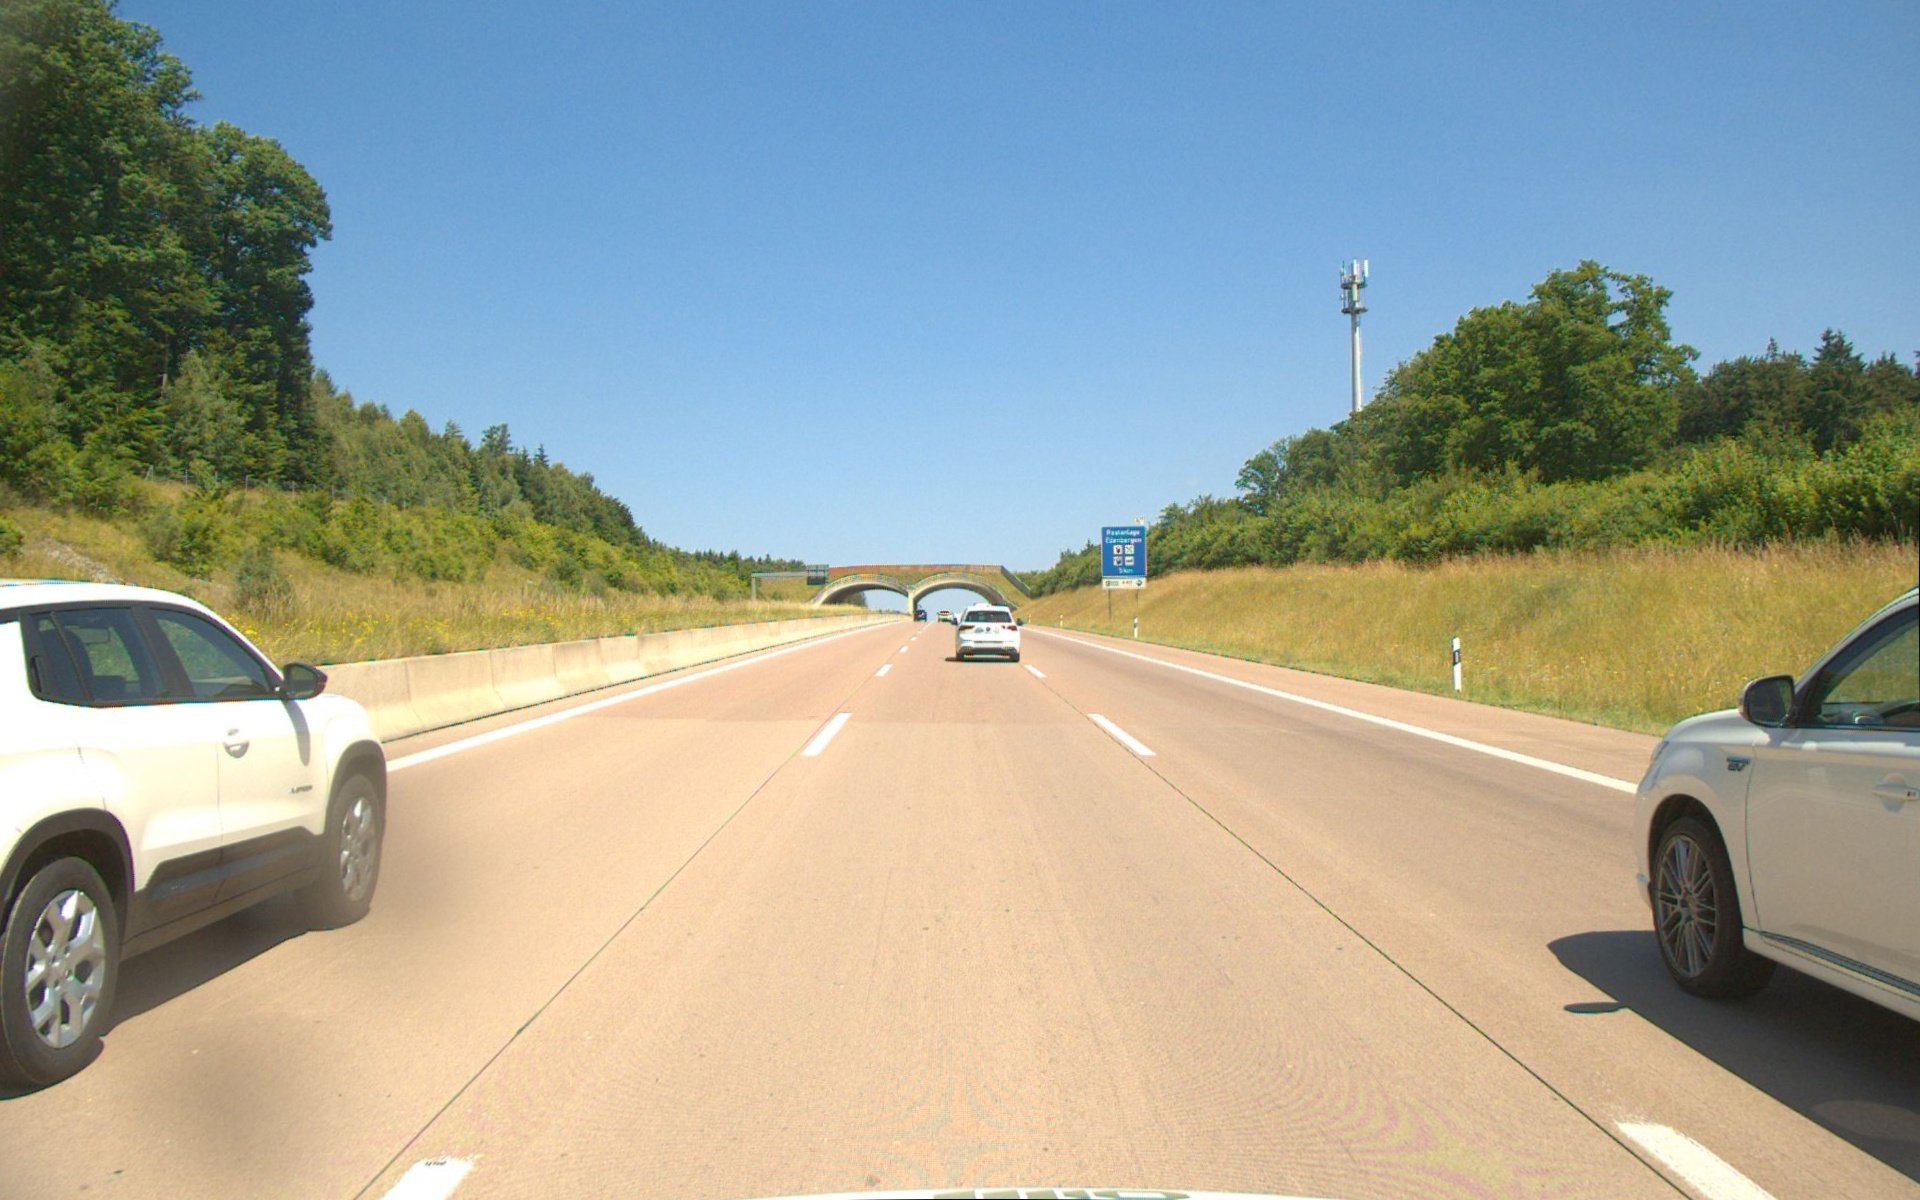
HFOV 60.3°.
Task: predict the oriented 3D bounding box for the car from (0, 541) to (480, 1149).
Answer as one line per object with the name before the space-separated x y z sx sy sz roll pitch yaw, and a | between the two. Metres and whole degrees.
car | -3.521 0.658 6.591 1.840 1.635 4.833 0 0 -1

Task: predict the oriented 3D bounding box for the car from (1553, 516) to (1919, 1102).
car | 3.807 0.634 5.392 1.852 1.758 5.185 0 0 -1

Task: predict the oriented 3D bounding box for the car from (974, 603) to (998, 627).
car | 2.339 1.304 148.077 2.067 2.090 4.001 0 0 1

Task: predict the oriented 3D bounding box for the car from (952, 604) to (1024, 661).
car | 0.769 0.846 44.734 1.852 1.422 4.001 1 0 1

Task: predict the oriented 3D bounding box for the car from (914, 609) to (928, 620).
car | -5.694 2.132 239.802 1.851 1.489 4.001 0 1 1

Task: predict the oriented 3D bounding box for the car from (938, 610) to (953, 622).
car | -1.902 2.013 213.218 1.852 1.489 4.000 1 0 0
